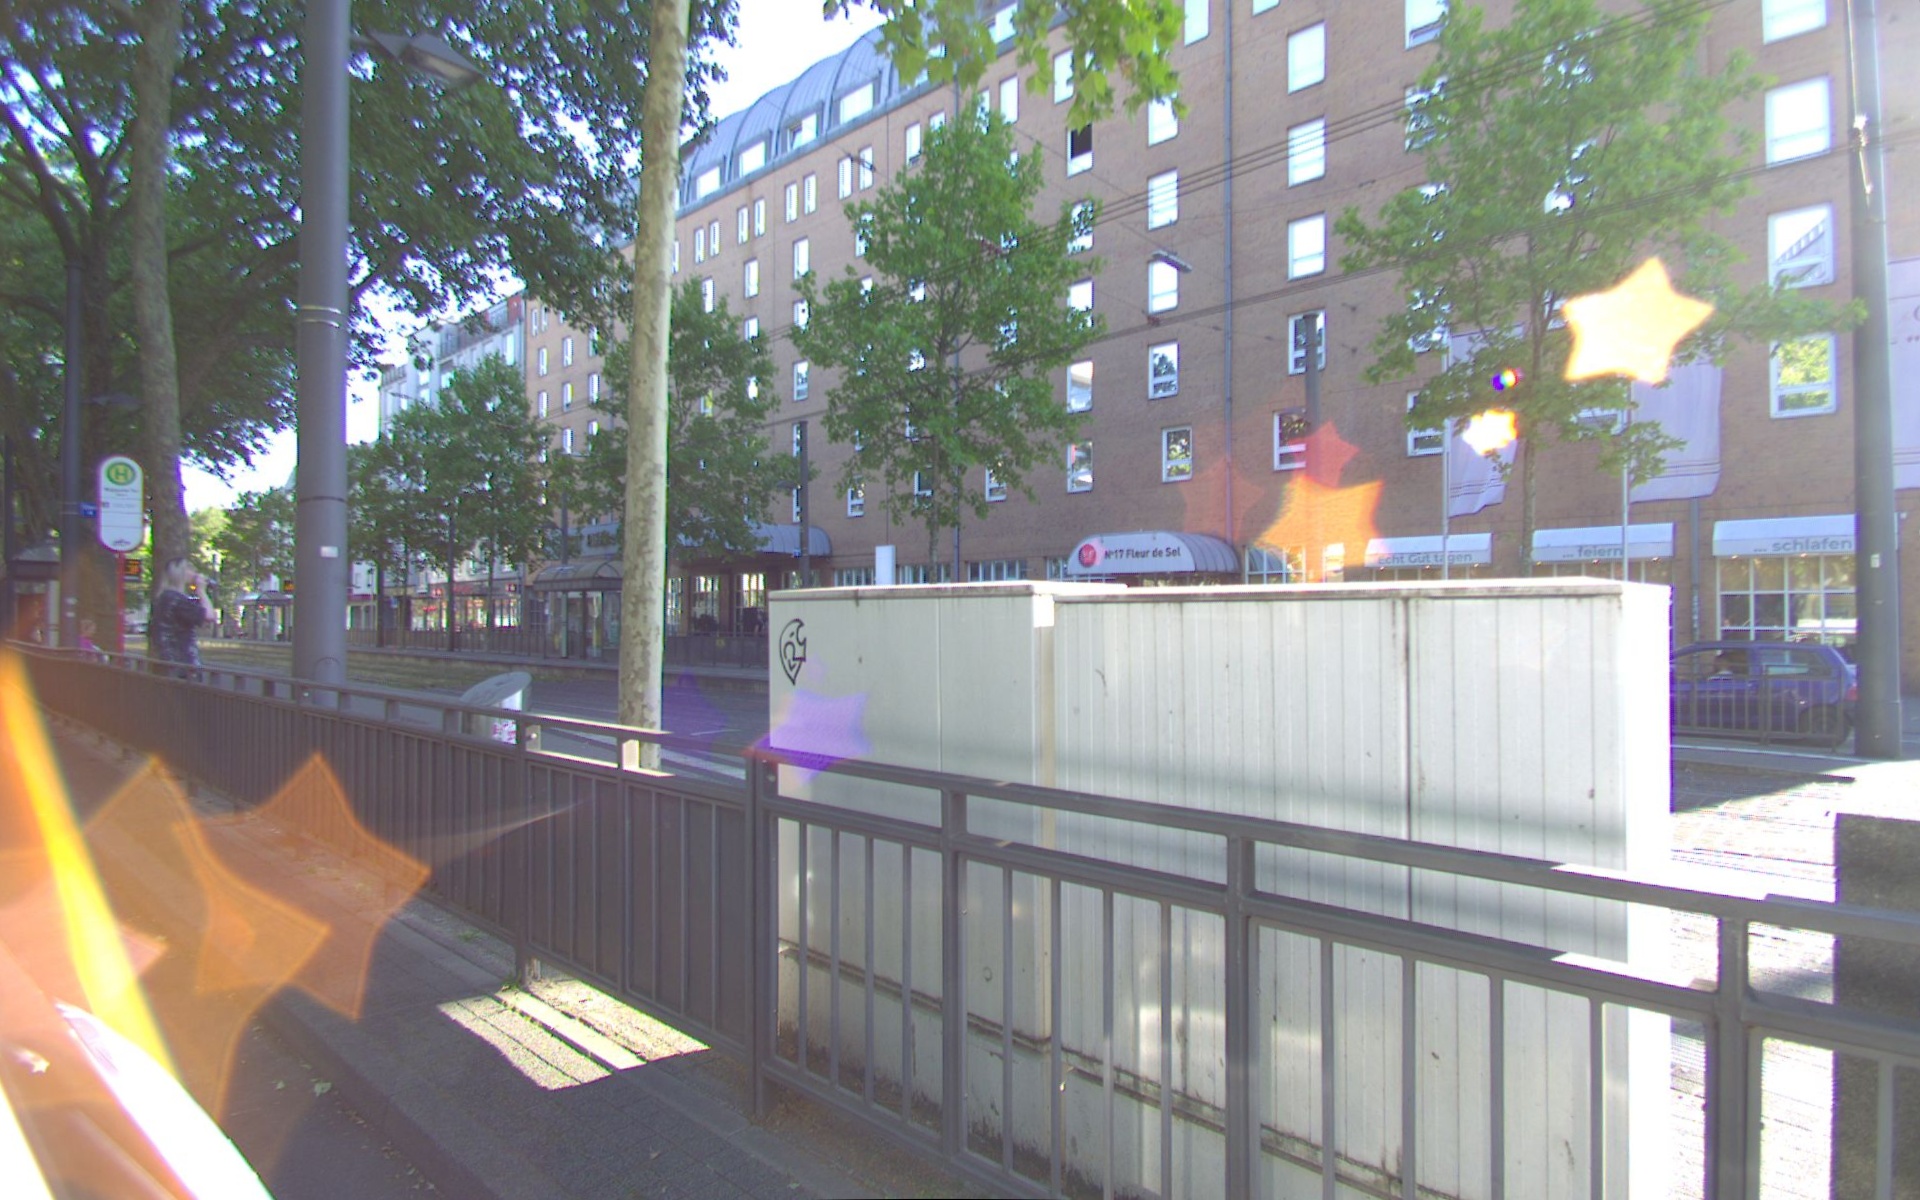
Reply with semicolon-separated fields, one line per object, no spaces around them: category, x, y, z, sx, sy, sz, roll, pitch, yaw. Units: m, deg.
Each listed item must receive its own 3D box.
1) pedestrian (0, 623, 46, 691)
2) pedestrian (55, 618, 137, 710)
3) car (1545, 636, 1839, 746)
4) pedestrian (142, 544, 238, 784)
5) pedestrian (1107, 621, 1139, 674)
pedestrian;-20.139;1.209;21.747;0.725;1.398;0.641;-1;0;-44
pedestrian;-13.979;1.007;16.383;0.965;1.410;0.665;-1;0;-44
car;10.537;1.247;14.818;3.298;1.409;1.620;-1;-2;34
pedestrian;-6.479;0.512;8.512;0.760;1.914;0.504;-1;0;42
pedestrian;5.020;1.450;31.212;0.725;1.596;0.583;-3;0;40
